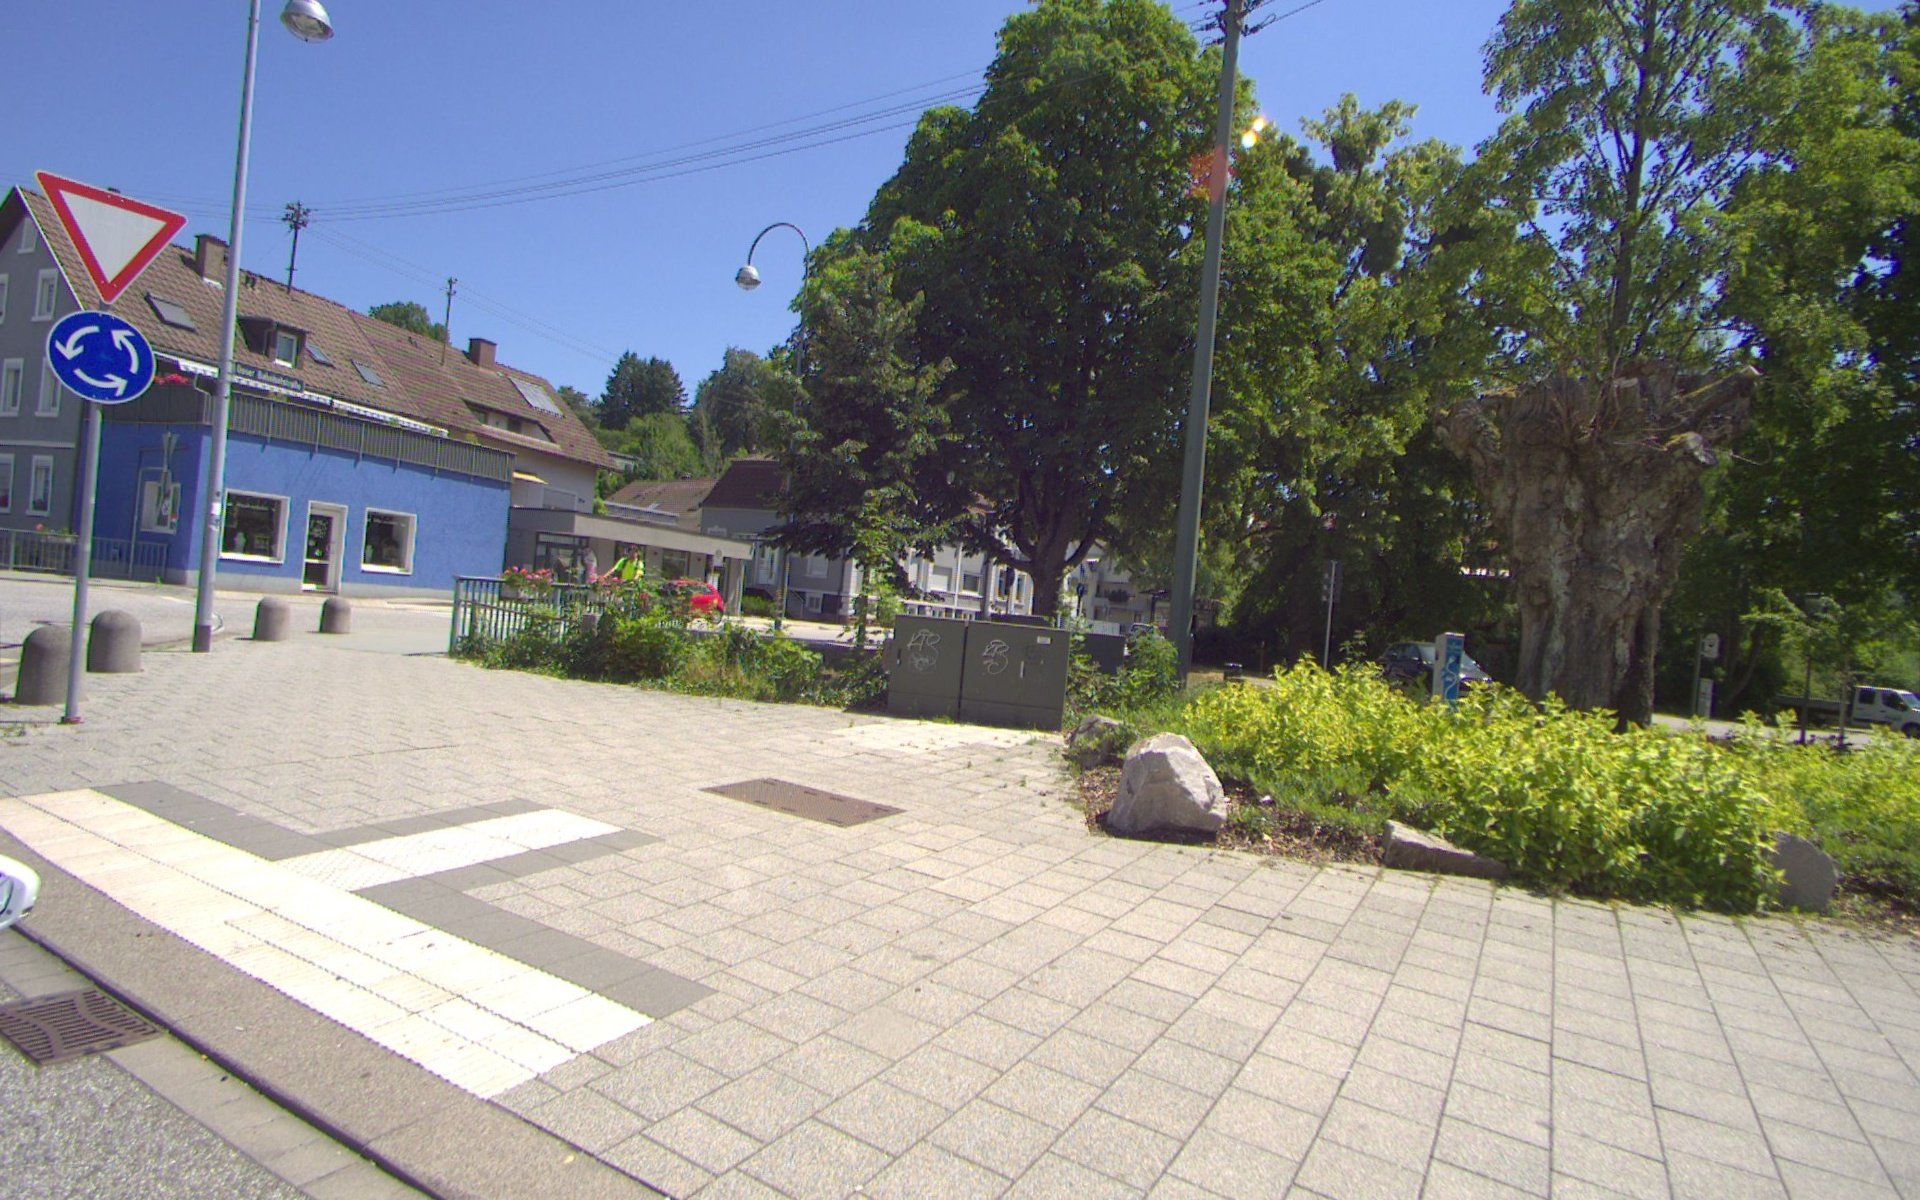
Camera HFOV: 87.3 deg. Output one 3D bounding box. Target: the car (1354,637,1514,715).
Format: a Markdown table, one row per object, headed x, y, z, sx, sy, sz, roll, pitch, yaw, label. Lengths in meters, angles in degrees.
| x | y | z | sx | sy | sz | roll | pitch | yaw | label |
| --- | --- | --- | --- | --- | --- | --- | --- | --- | --- |
| 11.501 | 1.799 | 24.691 | 1.644 | 1.472 | 3.757 | 5 | 0 | -8 | car |

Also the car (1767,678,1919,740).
| x | y | z | sx | sy | sz | roll | pitch | yaw | label |
| --- | --- | --- | --- | --- | --- | --- | --- | --- | --- |
| 44.596 | 5.417 | 49.892 | 2.167 | 2.267 | 6.718 | 5 | 0 | -28 | car |

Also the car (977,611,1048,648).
| x | y | z | sx | sy | sz | roll | pitch | yaw | label |
| --- | --- | --- | --- | --- | --- | --- | --- | --- | --- |
| 2.720 | 1.539 | 51.475 | 1.780 | 1.566 | 4.255 | 7 | 0 | 29 | car |

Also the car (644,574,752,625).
| x | y | z | sx | sy | sz | roll | pitch | yaw | label |
| --- | --- | --- | --- | --- | --- | --- | --- | --- | --- |
| -9.656 | 0.006 | 37.367 | 1.747 | 1.571 | 3.671 | 4 | -1 | 29 | car |

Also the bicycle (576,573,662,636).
| x | y | z | sx | sy | sz | roll | pitch | yaw | label |
| --- | --- | --- | --- | --- | --- | --- | --- | --- | --- |
| -6.583 | 0.105 | 19.545 | 0.733 | 1.097 | 1.850 | 5 | 0 | 8 | bicycle |

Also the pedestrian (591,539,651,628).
| x | y | z | sx | sy | sz | roll | pitch | yaw | label |
| --- | --- | --- | --- | --- | --- | --- | --- | --- | --- |
| -6.571 | -0.308 | 19.547 | 0.733 | 1.652 | 0.718 | 5 | 1 | 8 | pedestrian |

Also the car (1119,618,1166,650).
| x | y | z | sx | sy | sz | roll | pitch | yaw | label |
| --- | --- | --- | --- | --- | --- | --- | --- | --- | --- |
| 12.447 | 2.342 | 68.453 | 1.733 | 1.899 | 4.223 | 6 | 1 | 28 | car |
